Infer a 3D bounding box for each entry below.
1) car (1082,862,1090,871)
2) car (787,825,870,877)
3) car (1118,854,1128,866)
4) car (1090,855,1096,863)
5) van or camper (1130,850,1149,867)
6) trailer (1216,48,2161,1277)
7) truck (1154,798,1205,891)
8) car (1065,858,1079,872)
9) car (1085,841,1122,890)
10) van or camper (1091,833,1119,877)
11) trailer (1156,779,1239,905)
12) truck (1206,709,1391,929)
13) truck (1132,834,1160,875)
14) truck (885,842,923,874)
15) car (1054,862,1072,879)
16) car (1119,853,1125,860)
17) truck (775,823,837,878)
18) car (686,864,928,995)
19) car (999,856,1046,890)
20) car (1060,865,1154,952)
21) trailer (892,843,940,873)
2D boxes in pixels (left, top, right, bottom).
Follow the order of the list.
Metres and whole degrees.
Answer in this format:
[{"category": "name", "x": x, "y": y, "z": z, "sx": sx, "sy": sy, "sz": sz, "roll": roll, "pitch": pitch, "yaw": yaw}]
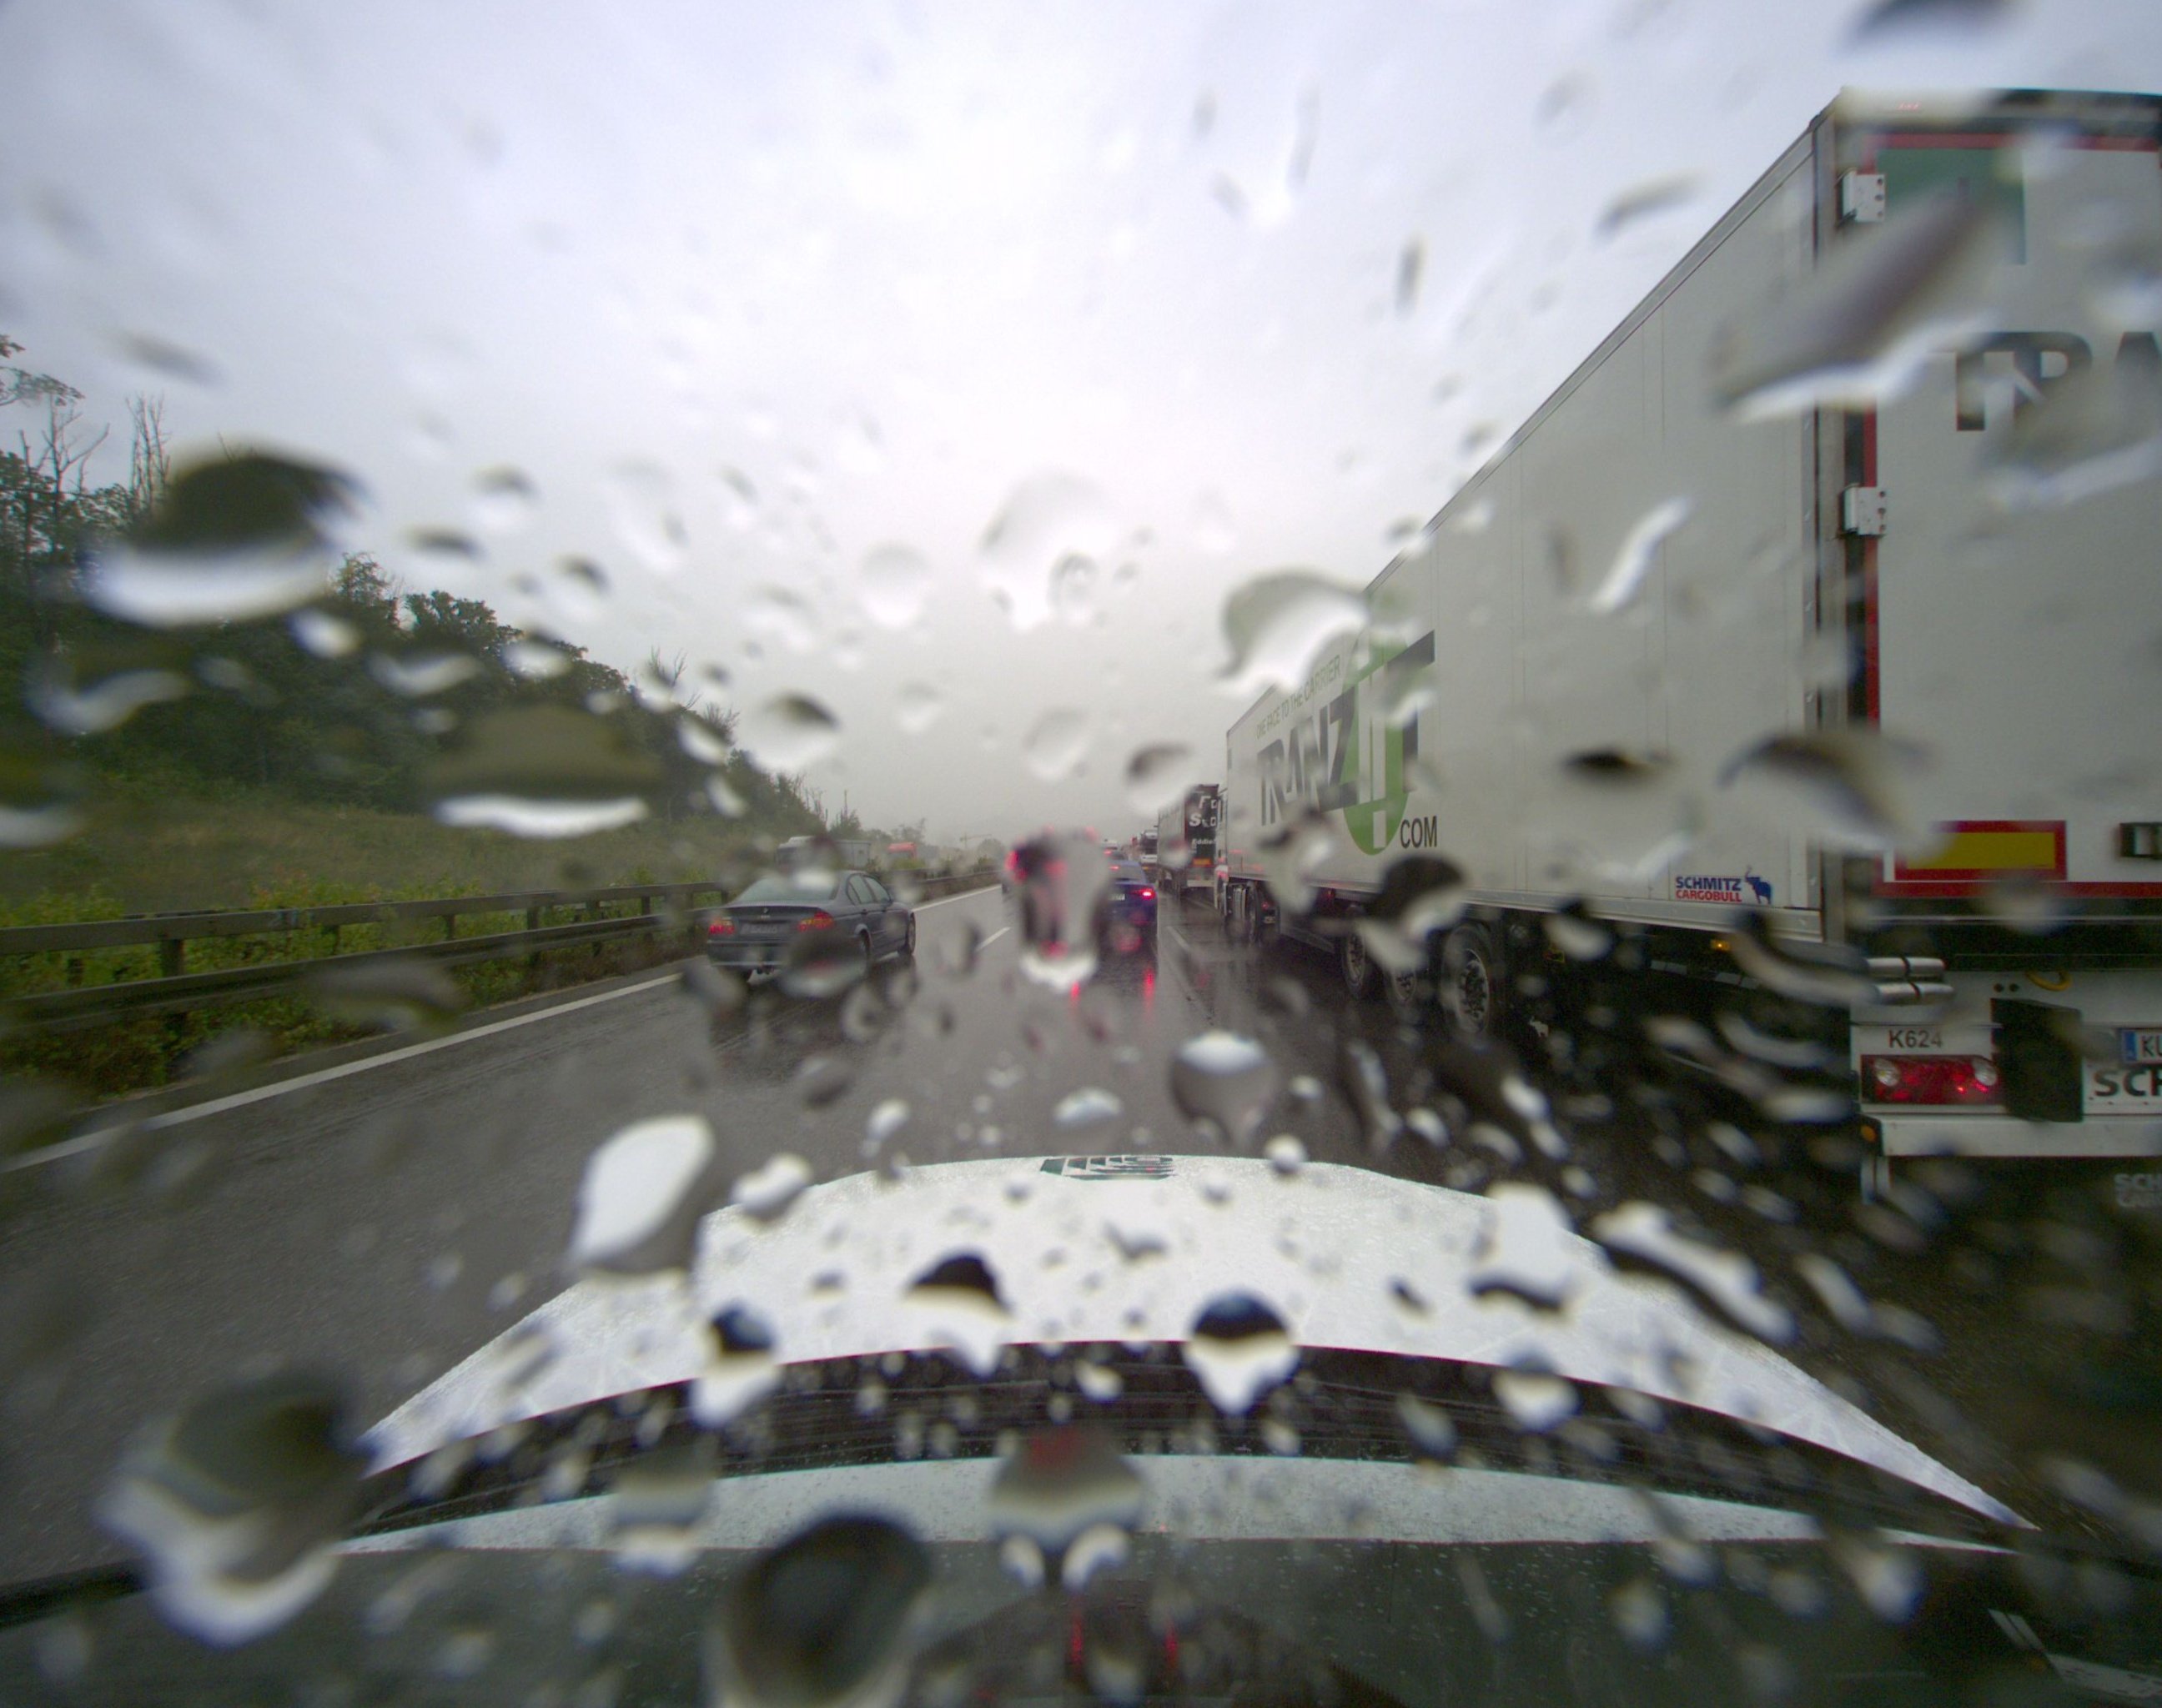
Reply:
[{"category": "car", "x": 0.993, "y": 2.555, "z": 167.259, "sx": 1.443, "sy": 1.784, "sz": 3.411, "roll": -1, "pitch": 0, "yaw": 2}, {"category": "car", "x": -19.000, "y": -0.185, "z": 62.191, "sx": 2.676, "sy": 3.611, "sz": 10.975, "roll": 0, "pitch": 0, "yaw": 1}, {"category": "car", "x": 6.505, "y": 0.893, "z": 125.539, "sx": 1.443, "sy": 1.784, "sz": 3.411, "roll": -1, "pitch": 0, "yaw": 2}, {"category": "car", "x": 2.776, "y": 1.175, "z": 188.351, "sx": 1.188, "sy": 1.750, "sz": 3.077, "roll": -1, "pitch": 0, "yaw": 2}, {"category": "van or camper", "x": 5.958, "y": 0.475, "z": 83.007, "sx": 1.765, "sy": 1.625, "sz": 4.486, "roll": -1, "pitch": 0, "yaw": 2}, {"category": "trailer", "x": 3.953, "y": -0.666, "z": 9.976, "sx": 2.620, "sy": 4.013, "sz": 14.636, "roll": -1, "pitch": 0, "yaw": 2}, {"category": "truck", "x": 4.652, "y": -0.452, "z": 38.984, "sx": 2.039, "sy": 4.193, "sz": 4.002, "roll": -1, "pitch": 0, "yaw": 2}, {"category": "car", "x": -1.032, "y": 1.194, "z": 91.803, "sx": 1.434, "sy": 1.533, "sz": 3.323, "roll": -1, "pitch": 0, "yaw": 2}, {"category": "car", "x": 0.885, "y": 0.409, "z": 31.403, "sx": 1.331, "sy": 1.780, "sz": 3.323, "roll": -1, "pitch": 0, "yaw": 2}, {"category": "van or camper", "x": 1.692, "y": 0.062, "z": 55.846, "sx": 1.790, "sy": 2.806, "sz": 4.770, "roll": -1, "pitch": 0, "yaw": 2}, {"category": "trailer", "x": 4.445, "y": -0.422, "z": 33.046, "sx": 2.039, "sy": 4.176, "sz": 11.453, "roll": -1, "pitch": 0, "yaw": 2}, {"category": "truck", "x": 4.185, "y": -0.622, "z": 16.717, "sx": 2.620, "sy": 3.827, "sz": 4.793, "roll": -1, "pitch": 0, "yaw": 2}, {"category": "truck", "x": 5.773, "y": 0.023, "z": 73.399, "sx": 1.987, "sy": 3.421, "sz": 8.033, "roll": -1, "pitch": 0, "yaw": 1}, {"category": "truck", "x": -18.320, "y": 0.403, "z": 84.539, "sx": 2.676, "sy": 3.151, "sz": 4.607, "roll": -1, "pitch": 0, "yaw": 2}, {"category": "car", "x": -1.591, "y": 1.466, "z": 74.543, "sx": 1.434, "sy": 1.420, "sz": 3.323, "roll": -1, "pitch": 0, "yaw": 2}, {"category": "car", "x": 10.887, "y": 0.676, "z": 216.977, "sx": 1.443, "sy": 1.784, "sz": 3.411, "roll": -1, "pitch": 0, "yaw": 2}, {"category": "truck", "x": -18.988, "y": -0.203, "z": 56.457, "sx": 2.677, "sy": 3.611, "sz": 4.606, "roll": 0, "pitch": 0, "yaw": 1}, {"category": "car", "x": -3.495, "y": 0.886, "z": 11.302, "sx": 1.711, "sy": 1.400, "sz": 4.233, "roll": -1, "pitch": 0, "yaw": 3}, {"category": "car", "x": -2.762, "y": 0.870, "z": 39.170, "sx": 1.714, "sy": 1.523, "sz": 4.003, "roll": -1, "pitch": 0, "yaw": 3}, {"category": "car", "x": 0.551, "y": 0.989, "z": 16.325, "sx": 1.629, "sy": 1.445, "sz": 4.003, "roll": -1, "pitch": 0, "yaw": 3}, {"category": "trailer", "x": -18.099, "y": 0.449, "z": 90.293, "sx": 2.676, "sy": 3.151, "sz": 11.089, "roll": -1, "pitch": 0, "yaw": 2}]
